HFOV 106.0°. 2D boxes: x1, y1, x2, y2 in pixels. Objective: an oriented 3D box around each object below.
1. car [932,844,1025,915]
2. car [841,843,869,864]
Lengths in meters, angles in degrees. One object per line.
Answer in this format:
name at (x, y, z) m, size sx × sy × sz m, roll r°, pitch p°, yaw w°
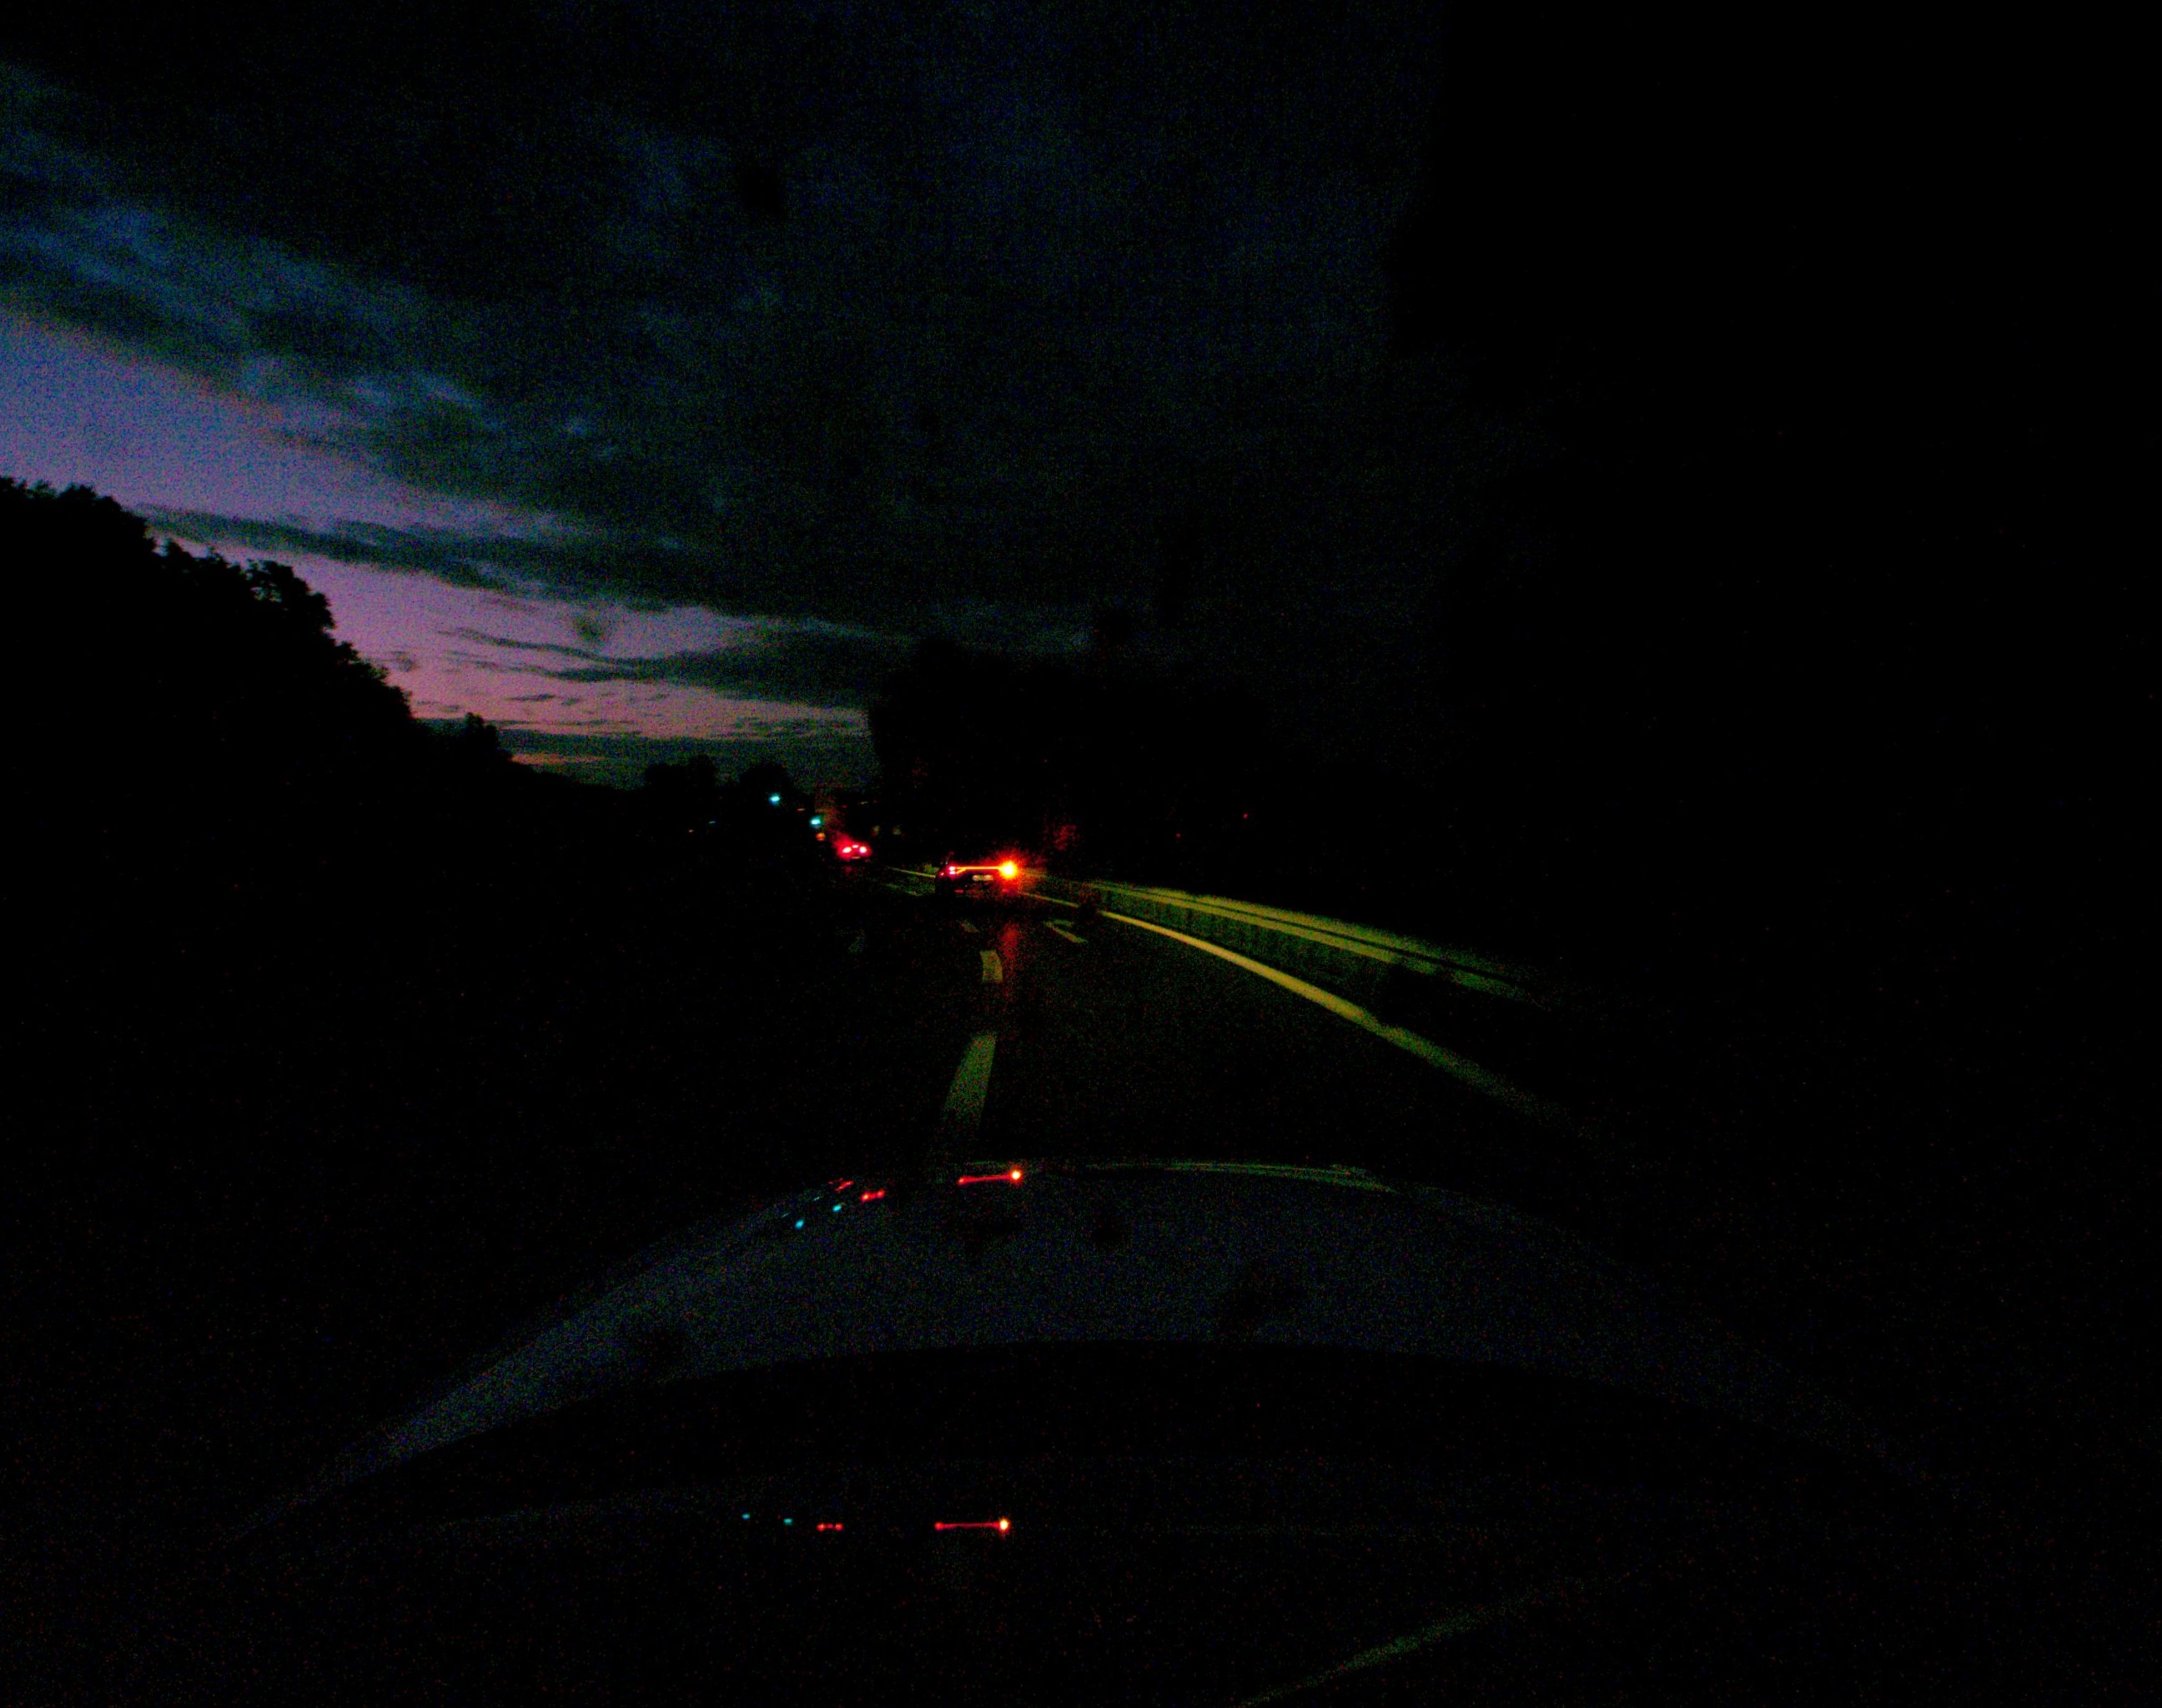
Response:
car at (-2.831, 0.598, 21.587) m, size 1.903 × 1.619 × 4.535 m, roll -2°, pitch 0°, yaw -14°
car at (-17.686, -0.015, 63.605) m, size 1.787 × 1.653 × 3.974 m, roll 0°, pitch -1°, yaw -19°
